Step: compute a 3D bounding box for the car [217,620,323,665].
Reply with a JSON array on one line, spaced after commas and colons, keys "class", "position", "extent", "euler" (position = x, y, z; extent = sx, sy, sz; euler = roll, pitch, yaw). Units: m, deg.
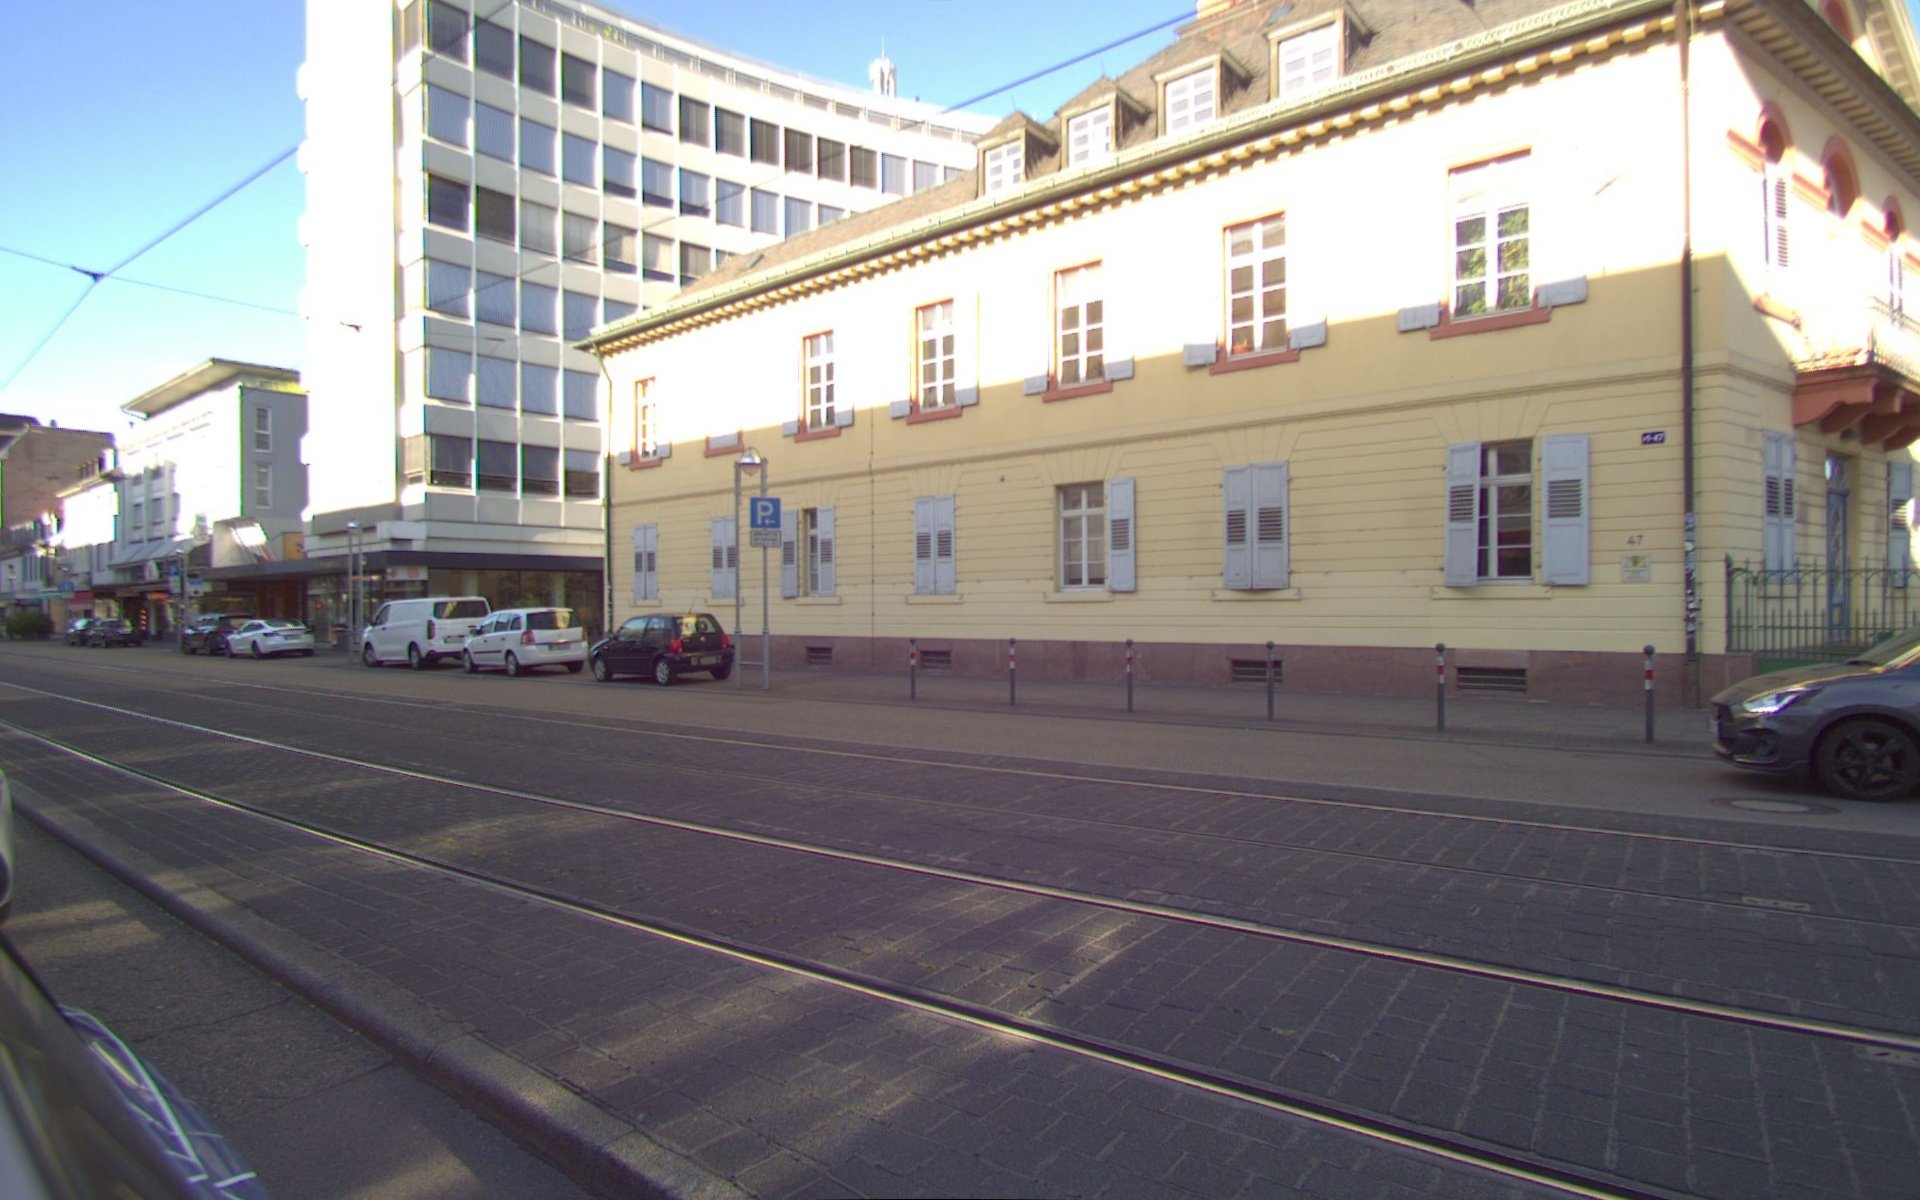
[{"class": "car", "position": [-25.604, 1.528, 37.516], "extent": [4.285, 1.463, 1.909], "euler": [-1, 1, 36]}]

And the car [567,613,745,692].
[{"class": "car", "position": [-6.543, 1.049, 21.612], "extent": [3.958, 1.450, 1.759], "euler": [-1, 1, 40]}]

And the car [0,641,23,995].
[{"class": "car", "position": [-6.340, 0.910, 5.058], "extent": [4.771, 1.450, 1.845], "euler": [-1, -2, 40]}]

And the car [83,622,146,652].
[{"class": "car", "position": [-43.658, 1.891, 52.248], "extent": [3.593, 1.427, 1.764], "euler": [-1, 0, 38]}]

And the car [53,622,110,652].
[{"class": "car", "position": [-48.187, 2.018, 55.509], "extent": [3.830, 1.531, 1.764], "euler": [-1, 0, 40]}]

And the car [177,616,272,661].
[{"class": "car", "position": [-29.782, 1.523, 40.940], "extent": [4.275, 1.654, 1.908], "euler": [-1, 1, 37]}]

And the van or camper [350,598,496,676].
[{"class": "van or camper", "position": [-15.443, 1.000, 29.019], "extent": [4.792, 1.988, 1.936], "euler": [-1, 1, 39]}]

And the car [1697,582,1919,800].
[{"class": "car", "position": [7.950, 0.643, 7.426], "extent": [3.842, 1.521, 1.765], "euler": [-1, -2, 28]}]

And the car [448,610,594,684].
[{"class": "car", "position": [-11.031, 1.114, 25.324], "extent": [4.175, 1.632, 1.758], "euler": [-1, 1, 42]}]
